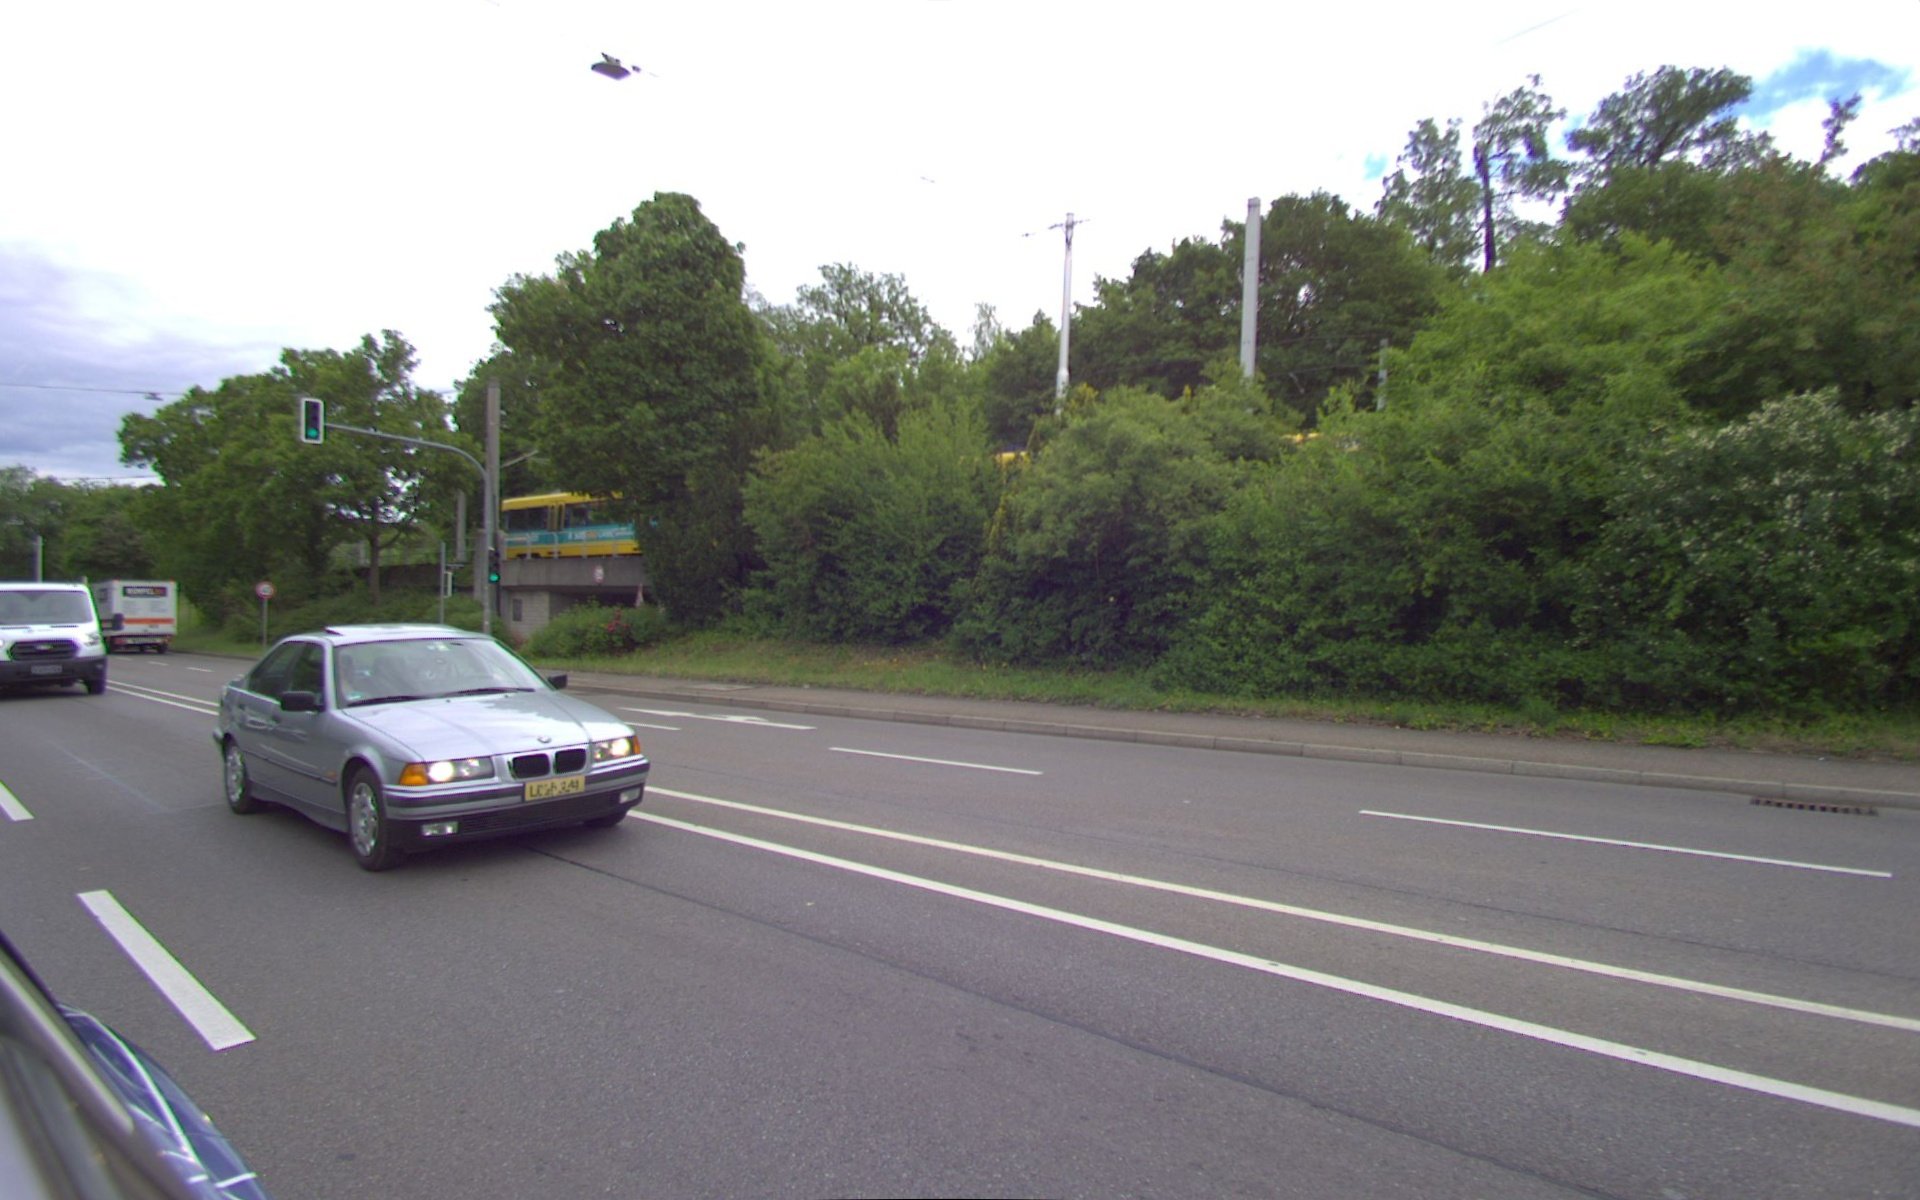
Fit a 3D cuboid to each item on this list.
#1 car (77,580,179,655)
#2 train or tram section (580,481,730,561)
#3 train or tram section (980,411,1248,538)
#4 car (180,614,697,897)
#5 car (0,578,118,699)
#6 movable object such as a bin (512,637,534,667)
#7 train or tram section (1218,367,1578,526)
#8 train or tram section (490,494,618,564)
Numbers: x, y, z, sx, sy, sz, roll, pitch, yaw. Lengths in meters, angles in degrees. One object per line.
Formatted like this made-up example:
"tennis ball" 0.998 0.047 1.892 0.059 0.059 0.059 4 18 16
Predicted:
"car" -37.006 0.764 44.923 7.230 3.079 2.247 -1 -1 40
"train or tram section" -13.646 -3.368 44.823 8.140 3.066 2.038 0 1 38
"train or tram section" 4.453 -3.603 30.718 8.143 3.066 2.037 0 1 39
"car" -3.946 0.818 7.235 4.613 1.404 1.734 -1 -2 41
"car" -19.132 0.722 20.374 6.664 2.142 2.224 -1 -1 40
"movable object such as a bin" -16.650 1.985 38.552 0.563 1.107 0.537 -1 -3 40
"train or tram section" 10.768 -3.627 25.594 8.143 3.066 2.037 0 1 39
"train or tram section" -20.108 -3.392 49.880 8.140 3.066 2.038 0 1 38
